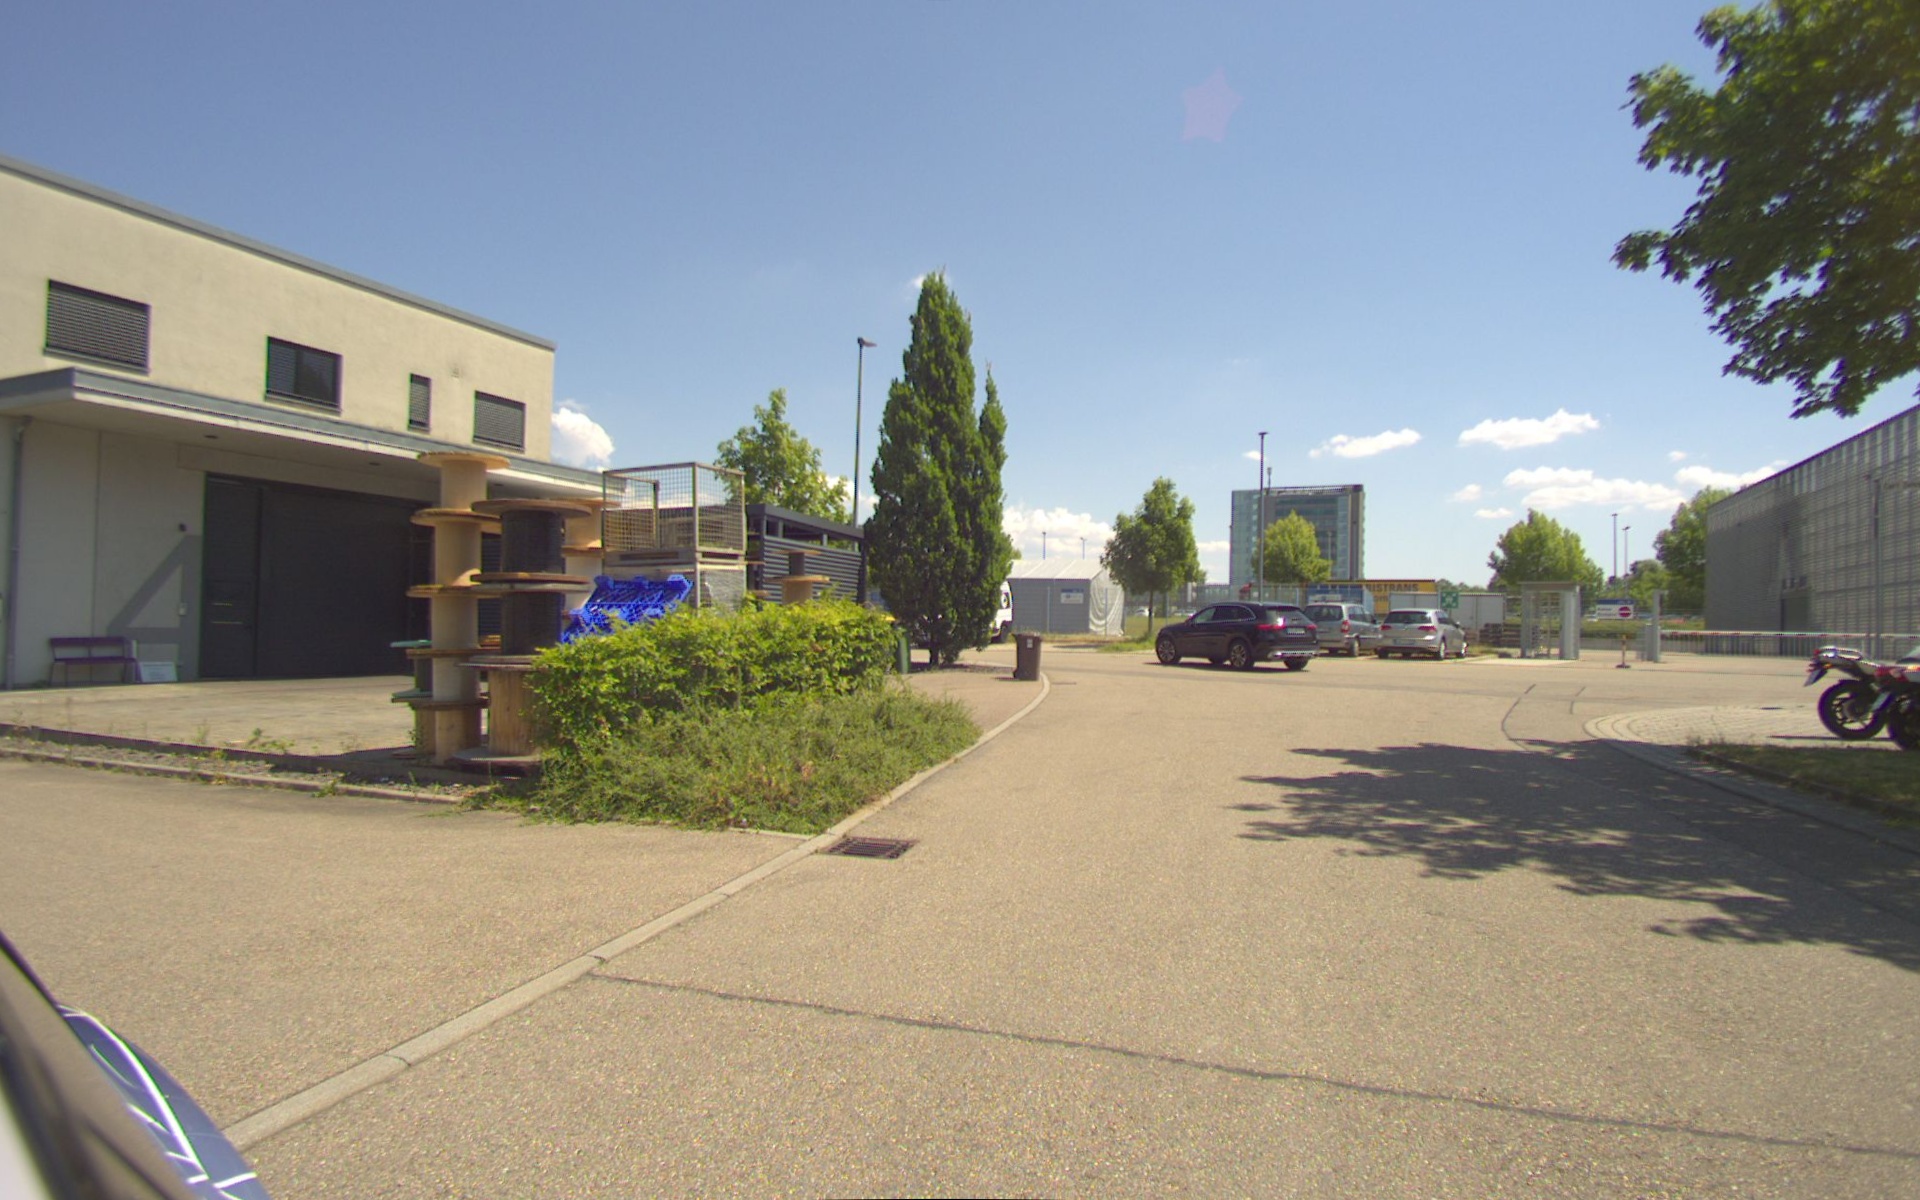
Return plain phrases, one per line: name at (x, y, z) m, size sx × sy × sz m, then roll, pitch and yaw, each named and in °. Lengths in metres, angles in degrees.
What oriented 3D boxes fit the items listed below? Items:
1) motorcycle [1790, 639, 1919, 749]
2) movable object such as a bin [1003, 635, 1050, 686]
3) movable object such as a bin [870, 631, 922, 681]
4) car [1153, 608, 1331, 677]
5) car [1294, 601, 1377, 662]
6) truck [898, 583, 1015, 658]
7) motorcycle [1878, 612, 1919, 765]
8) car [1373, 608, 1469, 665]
motorcycle at (10.006, 0.970, 10.588) m, size 1.972 × 1.117 × 0.482 m, roll -1°, pitch -1°, yaw 17°
movable object such as a bin at (1.313, 1.179, 19.919) m, size 0.757 × 0.977 × 0.584 m, roll 0°, pitch -1°, yaw 30°
movable object such as a bin at (-1.443, 1.253, 22.850) m, size 0.757 × 1.092 × 0.978 m, roll 0°, pitch -1°, yaw 29°
car at (6.801, 1.008, 24.878) m, size 1.925 × 1.525 × 4.273 m, roll 1°, pitch -2°, yaw -24°
car at (11.638, 0.941, 31.225) m, size 1.765 × 1.751 × 3.959 m, roll 0°, pitch -1°, yaw 30°
truck at (-0.025, 0.785, 39.355) m, size 2.405 × 2.692 × 5.650 m, roll -1°, pitch -1°, yaw 25°
motorcycle at (9.718, 0.804, 9.201) m, size 1.972 × 1.400 × 0.482 m, roll -1°, pitch -1°, yaw 17°
car at (13.510, 1.022, 29.560) m, size 1.651 × 1.533 × 3.948 m, roll -1°, pitch -1°, yaw 39°
